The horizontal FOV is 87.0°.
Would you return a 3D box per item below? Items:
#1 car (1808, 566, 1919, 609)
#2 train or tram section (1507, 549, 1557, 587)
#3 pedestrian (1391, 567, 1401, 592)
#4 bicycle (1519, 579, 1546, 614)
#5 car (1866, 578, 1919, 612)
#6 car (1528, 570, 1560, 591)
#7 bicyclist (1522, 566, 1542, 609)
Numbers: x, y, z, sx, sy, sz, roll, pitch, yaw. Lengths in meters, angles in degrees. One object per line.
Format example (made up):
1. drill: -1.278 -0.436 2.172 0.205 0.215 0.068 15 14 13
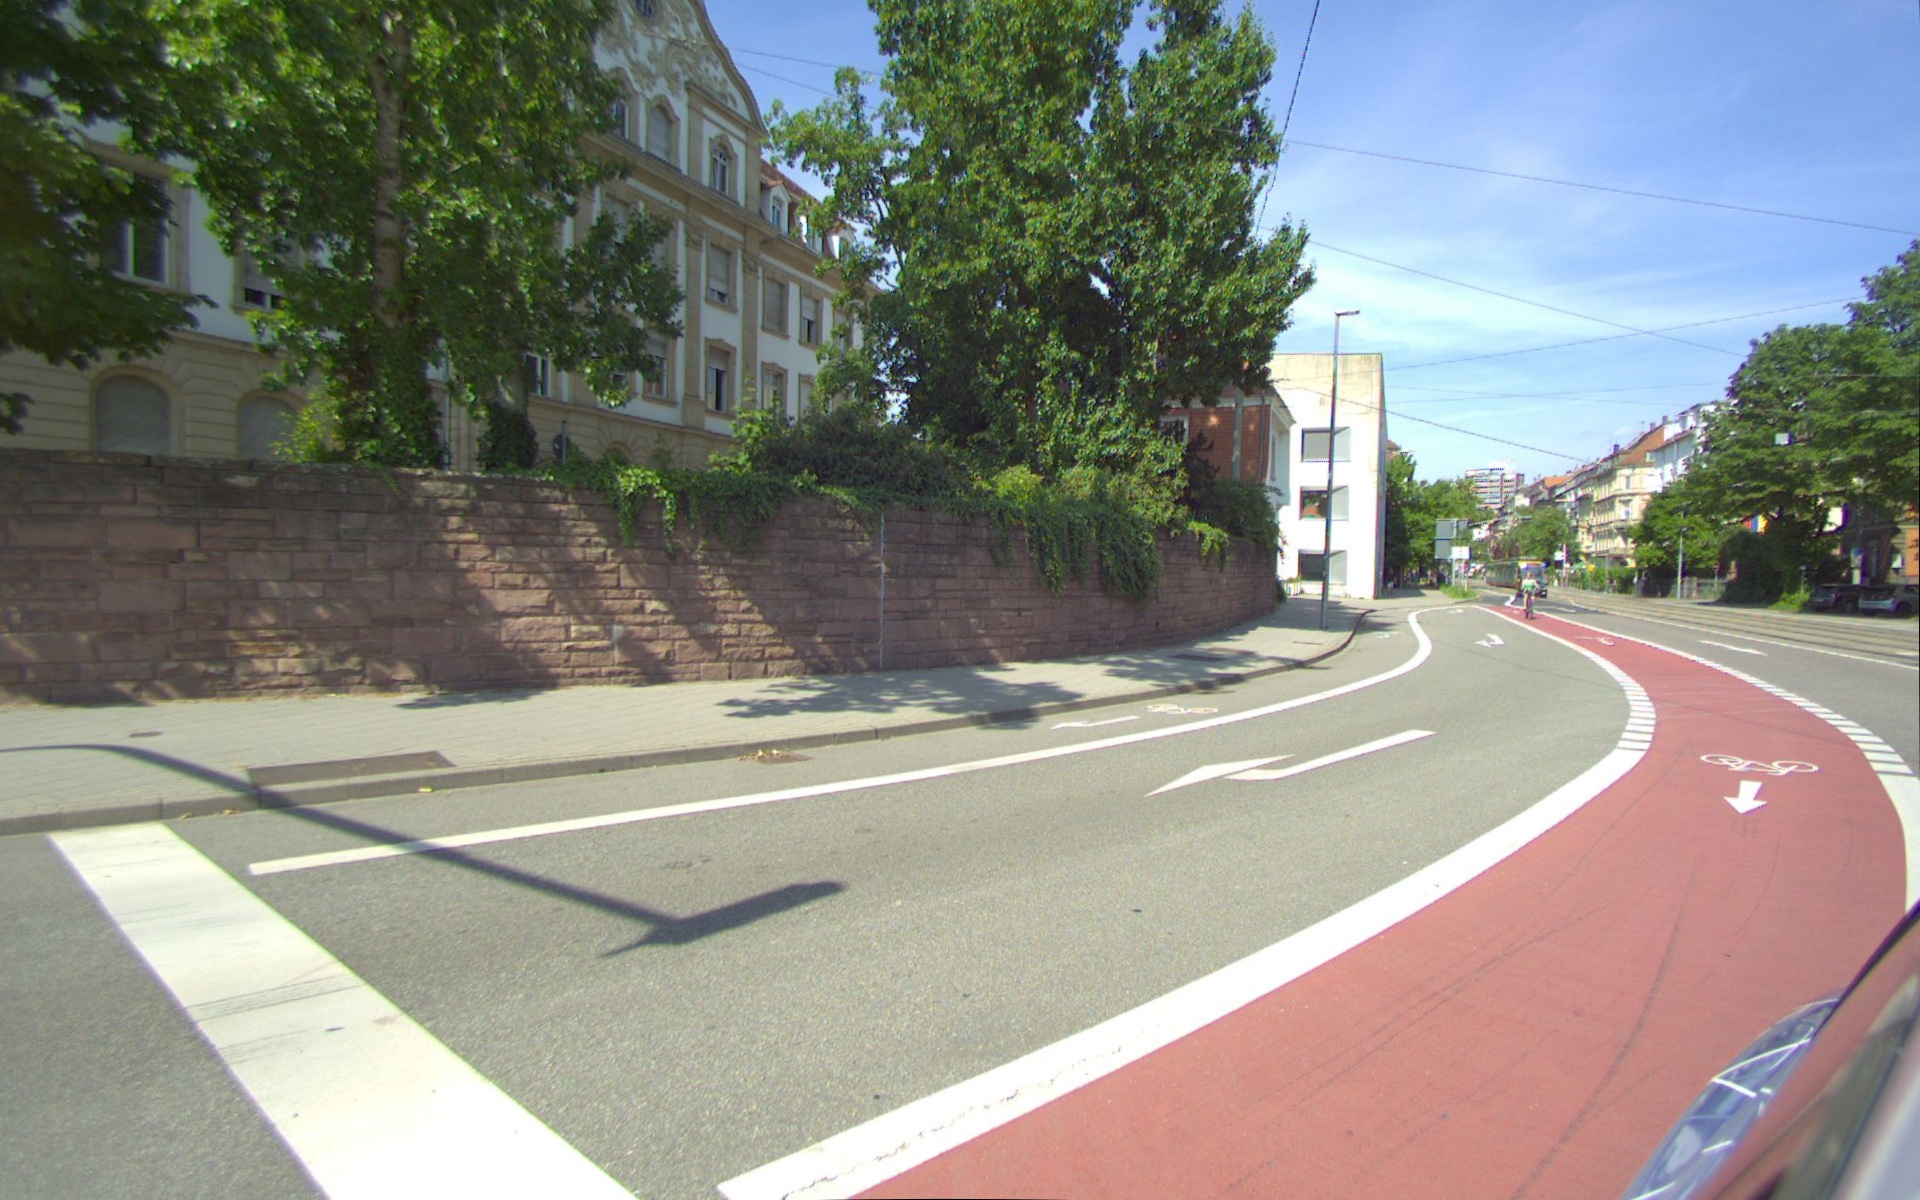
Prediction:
1. car: 46.244 -0.661 51.727 3.956 2.038 1.985 3 2 23
2. train or tram section: 63.372 -3.559 112.398 3.181 3.907 14.473 2 2 24
3. pedestrian: 28.615 -1.349 66.371 0.543 1.587 0.924 2 2 23
4. bicycle: 21.120 -0.150 37.355 0.679 1.237 2.167 2 2 26
5. car: 44.594 -0.200 46.441 3.956 1.482 1.985 3 2 23
6. car: 41.275 -1.380 71.591 1.786 1.393 4.236 3 3 28
7. bicyclist: 21.105 -0.475 37.356 0.582 1.567 0.923 0 1 27
